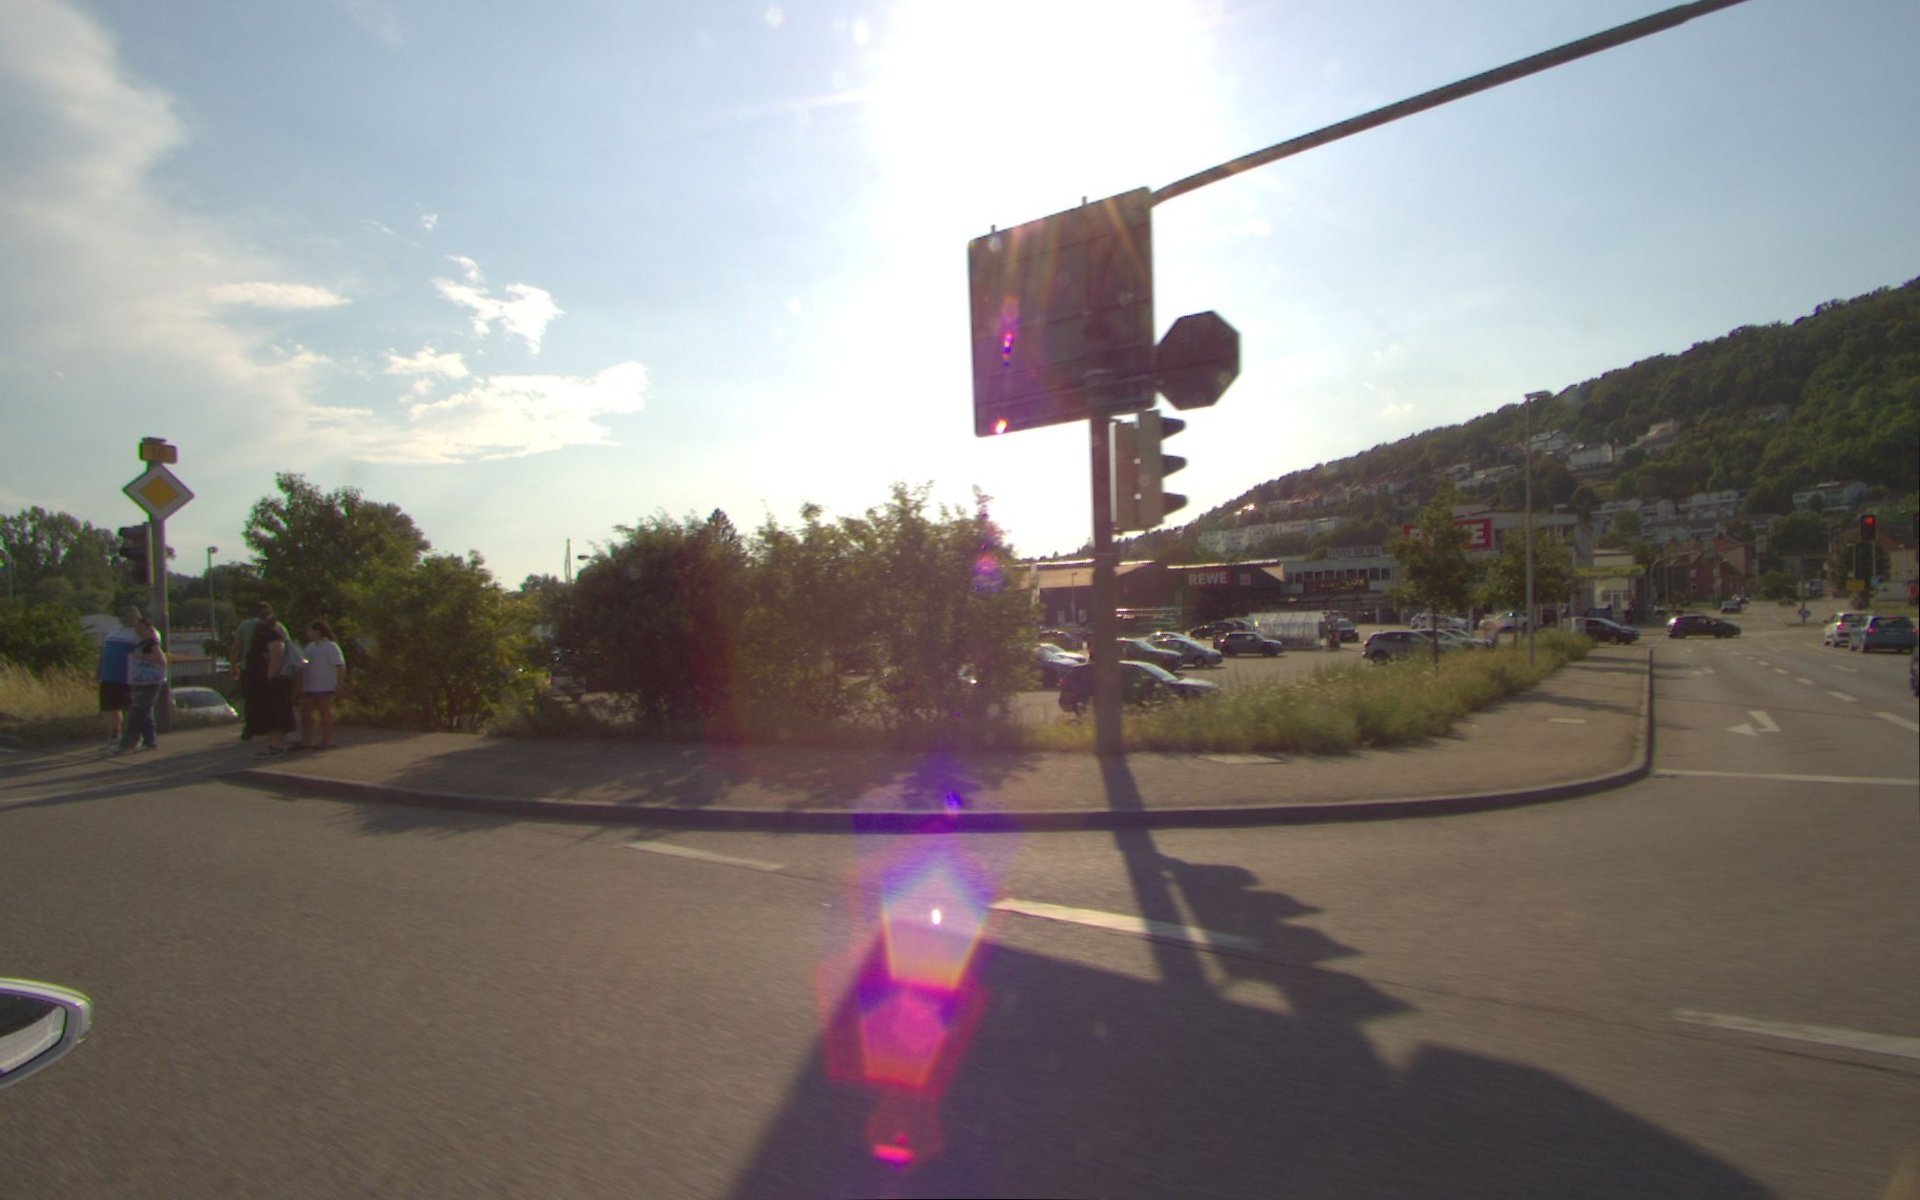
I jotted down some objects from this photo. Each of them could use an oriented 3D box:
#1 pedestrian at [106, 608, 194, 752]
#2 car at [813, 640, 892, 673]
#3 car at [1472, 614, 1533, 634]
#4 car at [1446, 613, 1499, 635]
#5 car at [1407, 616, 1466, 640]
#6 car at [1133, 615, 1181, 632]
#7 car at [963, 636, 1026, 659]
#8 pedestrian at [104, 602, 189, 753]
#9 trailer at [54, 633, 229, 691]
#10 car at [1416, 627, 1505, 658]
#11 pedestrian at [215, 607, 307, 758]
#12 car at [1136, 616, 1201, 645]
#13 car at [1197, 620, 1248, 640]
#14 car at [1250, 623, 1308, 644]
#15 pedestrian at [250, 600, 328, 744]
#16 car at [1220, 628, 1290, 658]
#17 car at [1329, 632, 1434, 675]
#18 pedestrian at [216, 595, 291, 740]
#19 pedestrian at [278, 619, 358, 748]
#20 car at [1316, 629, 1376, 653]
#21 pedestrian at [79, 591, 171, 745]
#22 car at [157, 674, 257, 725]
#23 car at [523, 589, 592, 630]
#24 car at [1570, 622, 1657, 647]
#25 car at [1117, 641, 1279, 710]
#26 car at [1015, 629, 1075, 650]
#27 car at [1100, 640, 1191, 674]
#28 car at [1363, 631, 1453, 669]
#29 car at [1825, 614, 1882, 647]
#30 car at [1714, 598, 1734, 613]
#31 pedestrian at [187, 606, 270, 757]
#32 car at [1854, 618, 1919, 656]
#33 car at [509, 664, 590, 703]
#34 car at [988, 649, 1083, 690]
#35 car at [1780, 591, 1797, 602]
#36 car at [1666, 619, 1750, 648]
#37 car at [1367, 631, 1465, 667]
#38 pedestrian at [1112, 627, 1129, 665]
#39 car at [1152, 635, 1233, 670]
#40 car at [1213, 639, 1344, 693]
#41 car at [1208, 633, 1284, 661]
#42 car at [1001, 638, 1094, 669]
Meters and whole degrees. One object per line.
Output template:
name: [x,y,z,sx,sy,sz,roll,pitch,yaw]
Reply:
pedestrian: [-10.092,0.979,12.482,0.624,1.706,0.593,-2,2,31]
car: [-6.010,3.142,55.647,4.070,1.725,1.828,-2,0,31]
car: [42.287,1.882,78.029,3.950,1.438,1.837,-3,-3,37]
car: [44.284,2.082,86.552,3.944,1.772,1.990,-2,-3,32]
car: [37.505,2.197,78.837,3.944,1.772,1.990,-2,-3,32]
car: [20.306,2.405,103.180,4.519,1.609,1.828,-2,0,32]
car: [2.336,3.207,68.014,3.944,1.527,1.722,-2,-3,33]
pedestrian: [-9.494,0.893,11.690,0.613,1.699,0.571,-2,-2,28]
trailer: [-50.542,3.742,62.074,3.316,3.364,7.855,-2,-3,37]
car: [25.892,2.211,51.799,3.944,1.527,1.722,-2,-3,33]
pedestrian: [-7.885,0.907,11.305,0.613,1.636,0.571,-2,1,28]
car: [13.400,2.003,64.405,3.706,1.772,1.795,-2,-3,33]
car: [22.496,2.552,85.847,3.854,1.583,1.826,-2,0,35]
car: [26.460,2.789,83.127,4.278,1.583,1.828,-2,0,32]
pedestrian: [-8.204,0.869,12.244,0.613,1.699,0.571,-2,-2,28]
car: [17.905,2.615,60.794,3.706,1.772,1.795,-2,-3,33]
car: [17.152,2.177,40.769,3.707,1.649,1.589,-2,-3,34]
pedestrian: [-9.028,0.849,12.793,0.530,1.773,0.528,-2,3,37]
pedestrian: [-7.602,0.979,11.856,0.613,1.475,0.571,-2,-2,28]
car: [28.909,3.058,74.936,3.943,1.749,1.652,-2,-2,31]
pedestrian: [-10.743,0.850,12.884,0.849,1.908,0.617,-2,1,31]
car: [-24.258,3.159,32.234,3.537,1.503,1.525,-2,-3,34]
car: [-27.309,0.705,67.884,5.399,2.581,1.750,-2,-2,36]
car: [38.943,2.063,59.717,3.923,1.415,1.782,-1,-2,6]
car: [6.044,1.891,25.591,3.707,1.649,1.589,-2,-3,34]
car: [6.060,2.822,71.613,3.943,1.527,1.722,-1,-2,33]
car: [8.894,2.729,48.045,3.944,1.527,1.722,-2,-3,33]
car: [21.653,2.410,48.408,3.707,1.772,1.794,-2,-3,34]
car: [41.829,1.437,46.950,1.669,1.438,3.629,-2,-3,37]
car: [89.991,0.676,117.960,1.709,1.694,3.597,-2,-3,36]
pedestrian: [-8.499,0.931,11.644,0.613,1.699,0.571,-2,-2,28]
car: [38.131,1.523,41.224,1.556,1.504,3.305,-2,-3,35]
car: [-16.913,3.416,41.242,3.540,1.503,1.523,-3,-2,37]
car: [3.182,2.909,42.306,3.707,1.649,1.589,-2,-3,34]
car: [122.228,-0.552,147.682,1.566,1.414,3.361,-2,-3,34]
car: [46.969,2.143,62.963,3.933,1.749,1.603,-2,-2,23]
car: [22.811,2.452,50.148,4.105,1.727,1.987,-3,-3,37]
pedestrian: [6.431,1.845,40.159,0.375,1.477,0.564,0,-2,-32]
car: [12.057,2.713,51.976,3.706,1.772,1.795,-2,-3,33]
car: [10.238,2.113,32.262,3.707,1.649,1.589,-2,-3,34]
car: [16.586,2.742,58.116,3.944,1.527,1.722,-2,-3,33]
car: [4.481,2.783,51.648,4.475,1.526,1.898,-2,-3,35]
